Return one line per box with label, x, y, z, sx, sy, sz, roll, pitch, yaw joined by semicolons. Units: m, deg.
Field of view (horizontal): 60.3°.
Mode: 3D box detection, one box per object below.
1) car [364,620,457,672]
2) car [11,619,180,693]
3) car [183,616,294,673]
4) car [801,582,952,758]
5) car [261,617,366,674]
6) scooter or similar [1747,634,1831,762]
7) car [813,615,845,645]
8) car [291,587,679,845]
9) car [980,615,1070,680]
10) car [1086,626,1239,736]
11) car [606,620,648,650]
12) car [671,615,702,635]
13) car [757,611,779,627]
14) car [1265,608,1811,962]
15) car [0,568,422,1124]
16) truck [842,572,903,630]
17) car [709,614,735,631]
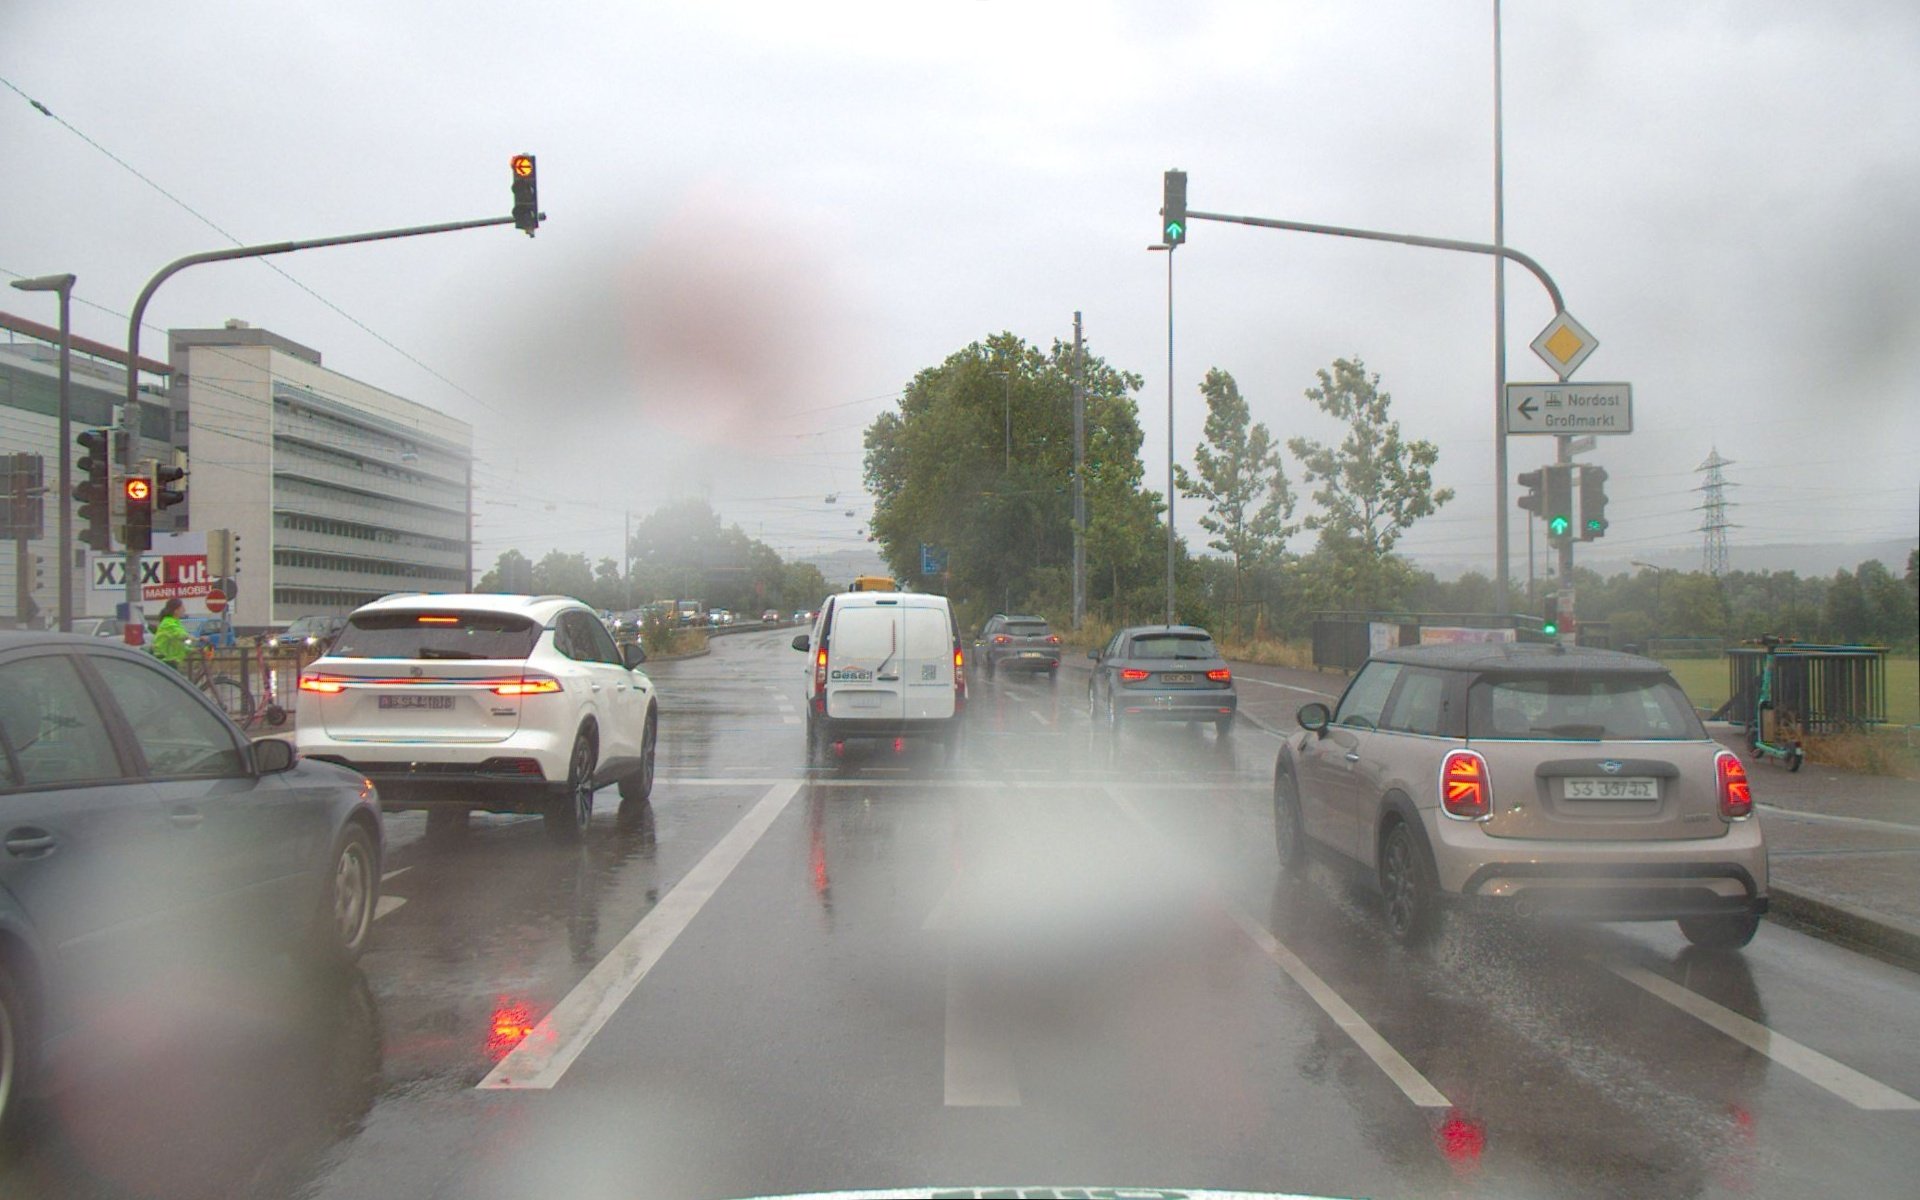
car;-20.630;1.728;62.255;1.889;1.859;4.002;1;-1;4
car;-21.441;1.381;41.223;1.853;1.729;4.001;1;-1;4
car;-23.752;1.488;54.586;1.693;1.690;3.538;1;-4;7
car;-0.882;0.771;19.221;1.534;1.819;3.999;1;-1;0
car;-21.392;1.545;54.891;1.807;1.829;4.000;0;-3;1
scooter or similar;7.926;0.916;15.844;0.240;1.178;1.186;1;-1;1
car;-8.637;1.953;108.554;1.955;1.892;3.994;1;-1;-6
car;-3.293;0.732;12.356;1.694;1.562;4.296;1;0;-1
car;1.513;1.107;39.807;1.822;1.454;3.805;1;0;-3
car;2.720;1.071;22.893;1.596;1.368;3.622;1;-1;-1
car;-21.169;2.212;105.293;1.786;1.839;3.769;1;-1;2
car;-24.317;2.223;147.316;1.952;1.692;4.000;1;-1;2
car;-22.186;2.250;191.180;1.952;1.788;4.000;1;-1;2
car;2.889;0.843;9.104;1.678;1.534;3.623;1;-1;-1
car;-3.328;0.646;5.302;1.726;1.423;4.643;1;-2;-1
truck;-4.661;0.110;86.753;2.583;2.866;7.132;1;-1;-8
car;-24.368;2.317;169.733;1.952;1.614;4.000;1;-1;2
